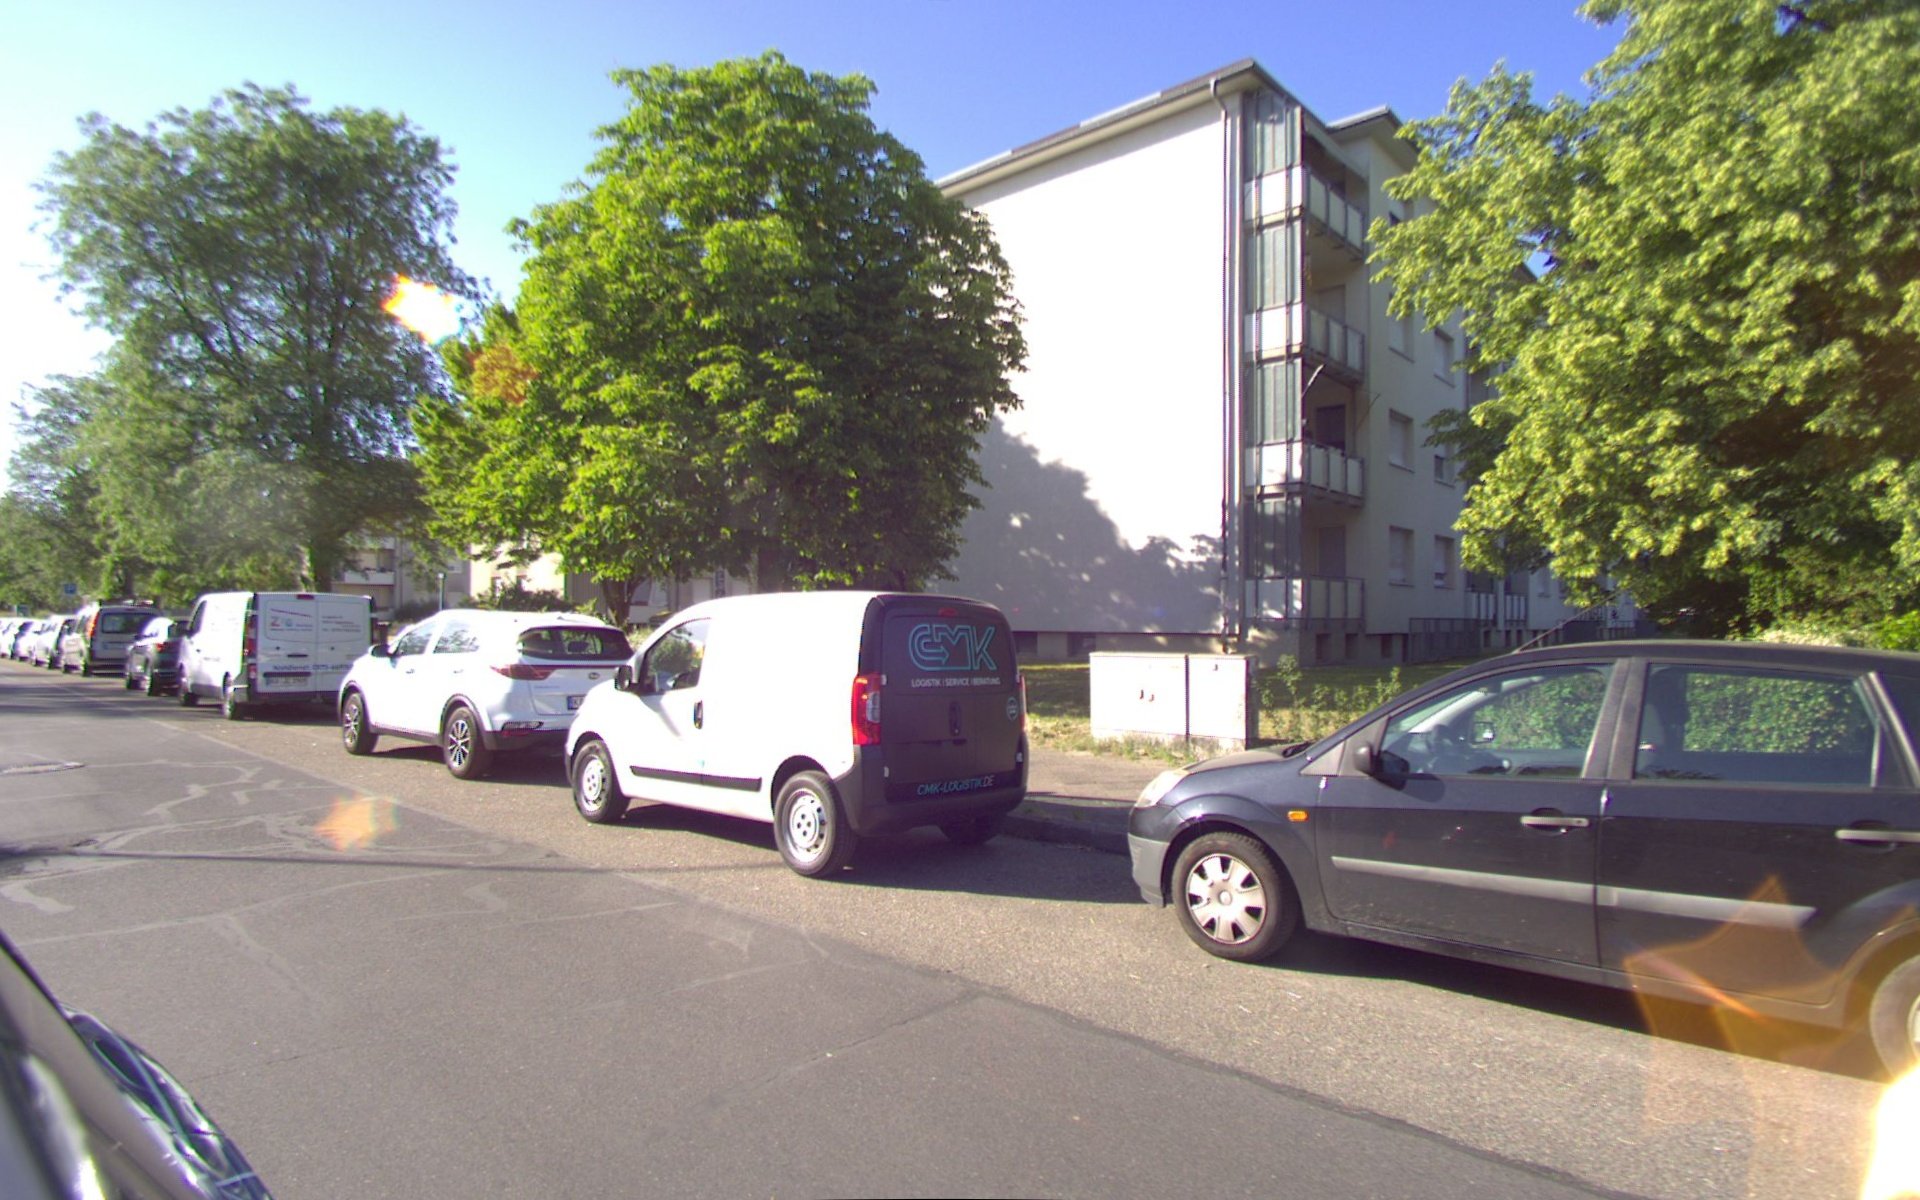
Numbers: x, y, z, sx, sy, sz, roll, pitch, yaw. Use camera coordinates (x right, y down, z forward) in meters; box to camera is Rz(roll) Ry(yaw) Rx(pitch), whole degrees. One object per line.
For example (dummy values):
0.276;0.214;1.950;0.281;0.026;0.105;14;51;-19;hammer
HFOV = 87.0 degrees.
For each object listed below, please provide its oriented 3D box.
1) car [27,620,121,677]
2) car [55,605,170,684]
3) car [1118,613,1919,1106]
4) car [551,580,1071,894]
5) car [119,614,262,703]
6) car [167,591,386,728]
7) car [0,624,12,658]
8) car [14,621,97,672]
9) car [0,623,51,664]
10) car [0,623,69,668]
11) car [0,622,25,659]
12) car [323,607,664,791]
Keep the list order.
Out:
-26.922;1.454;30.728;3.554;1.641;1.611;-1;-4;41;car
-22.674;1.184;27.051;3.810;1.968;1.710;-1;-4;41;car
2.653;0.822;4.233;3.652;1.448;1.606;-1;-4;41;car
-1.211;0.816;7.378;3.646;1.695;1.794;-1;-4;41;car
-15.924;1.177;20.870;3.813;1.652;1.708;-2;-4;44;car
-11.353;0.939;16.685;4.509;1.956;1.884;-1;-4;42;car
-48.006;1.985;49.741;3.554;1.641;1.611;-1;-4;41;car
-30.817;1.585;34.466;3.554;1.641;1.611;-1;-4;41;car
-39.384;1.794;42.257;3.554;1.641;1.611;-1;-4;41;car
-35.054;1.707;38.221;3.554;1.641;1.611;-1;-4;41;car
-44.392;1.858;46.520;3.554;1.641;1.611;-1;-4;41;car
-5.208;0.963;11.071;4.166;1.652;1.710;-1;-4;40;car
